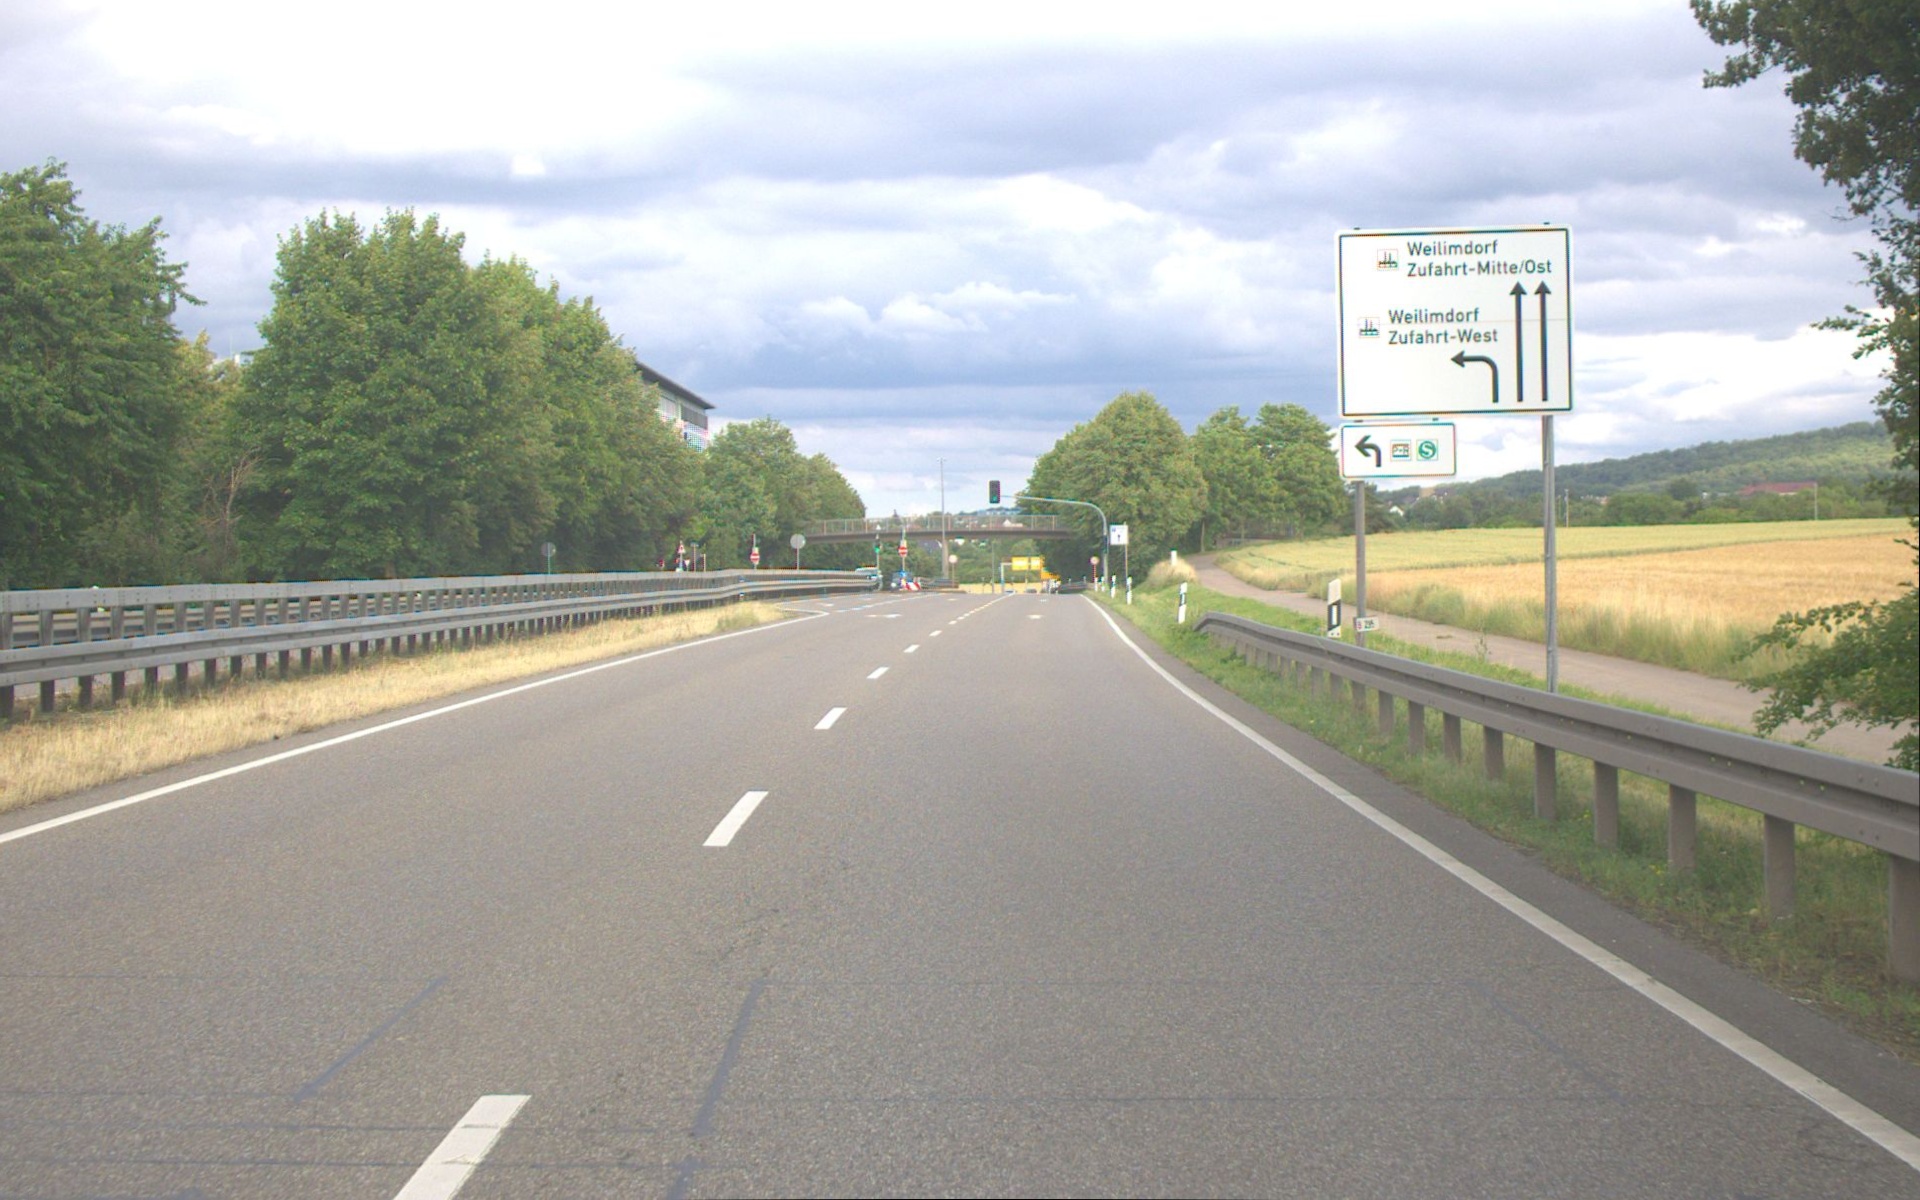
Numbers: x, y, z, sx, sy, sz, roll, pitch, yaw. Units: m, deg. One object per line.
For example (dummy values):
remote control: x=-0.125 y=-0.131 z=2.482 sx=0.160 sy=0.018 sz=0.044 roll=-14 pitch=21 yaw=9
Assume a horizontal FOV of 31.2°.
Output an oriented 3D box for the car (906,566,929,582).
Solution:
car: x=-2.906 y=-1.802 z=236.154 sx=1.358 sy=1.088 sz=2.921 roll=0 pitch=1 yaw=3
